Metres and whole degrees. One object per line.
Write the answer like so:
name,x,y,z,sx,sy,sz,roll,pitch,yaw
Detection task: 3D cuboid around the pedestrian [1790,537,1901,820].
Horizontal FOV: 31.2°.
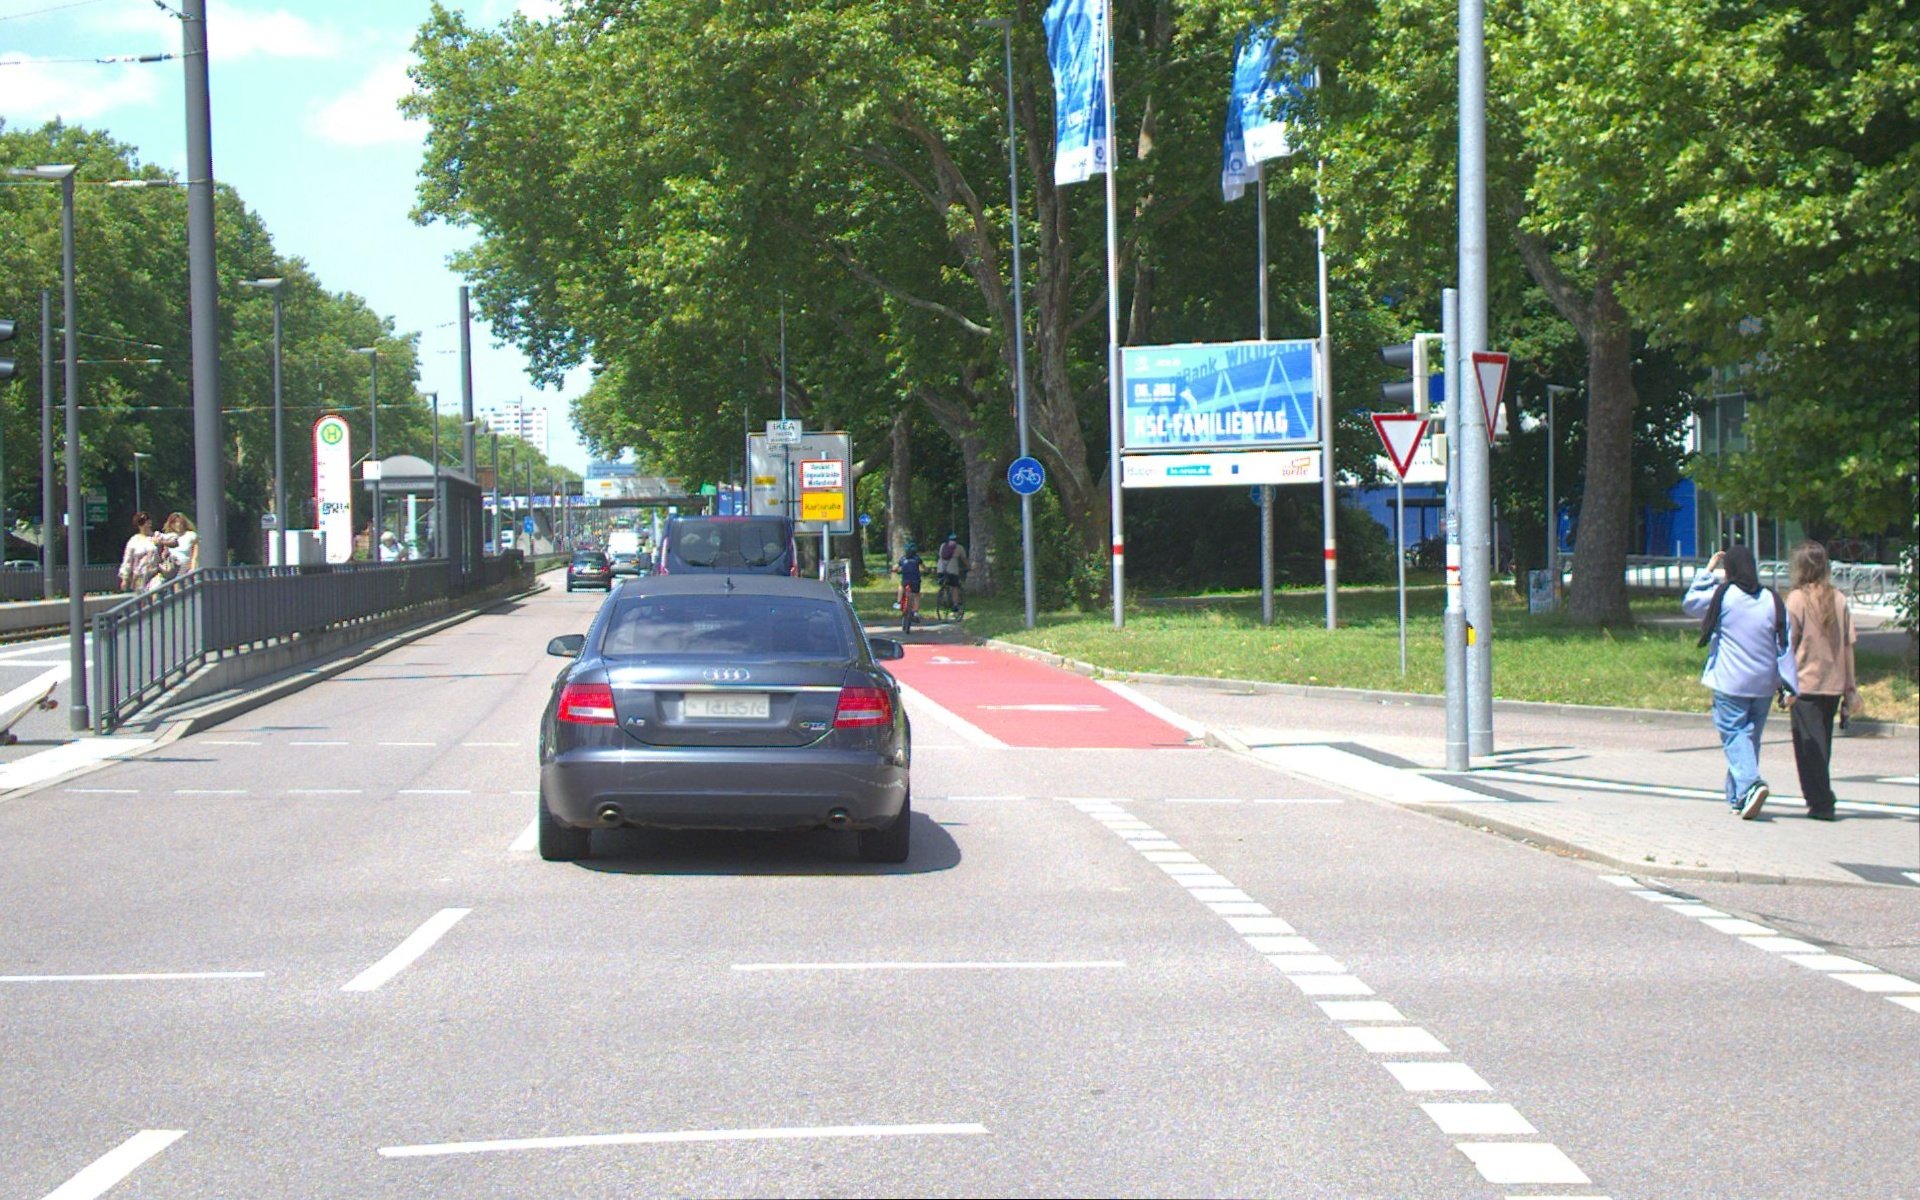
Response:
pedestrian,5.358,0.458,20.827,0.623,1.677,0.725,0,1,13

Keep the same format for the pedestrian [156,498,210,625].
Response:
pedestrian,-10.371,-0.516,45.899,0.613,1.675,0.720,0,1,-7

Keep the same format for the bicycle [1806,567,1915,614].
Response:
bicycle,19.108,-0.205,72.993,2.059,0.965,0.869,0,1,-8

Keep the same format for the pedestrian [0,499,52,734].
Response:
pedestrian,-7.545,0.122,26.702,0.862,1.796,0.884,0,1,-8

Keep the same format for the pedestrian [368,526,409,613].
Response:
pedestrian,-11.056,-0.596,66.481,0.732,1.660,0.742,0,1,-6

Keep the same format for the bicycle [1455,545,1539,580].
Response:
bicycle,17.261,-1.215,110.553,2.545,1.107,0.759,0,1,-9

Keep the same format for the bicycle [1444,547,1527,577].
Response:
bicycle,17.088,-1.228,111.813,2.545,0.967,0.759,0,1,-9

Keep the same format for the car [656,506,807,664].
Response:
car,-2.949,-0.217,44.706,1.848,1.953,4.145,1,1,-3

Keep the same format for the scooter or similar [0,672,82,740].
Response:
scooter or similar,-7.284,0.827,26.964,0.726,0.504,0.457,0,1,-8

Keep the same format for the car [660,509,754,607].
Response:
car,-5.218,-0.876,71.205,1.848,1.953,4.145,1,1,-3

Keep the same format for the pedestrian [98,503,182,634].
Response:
pedestrian,-10.128,-0.401,42.480,0.890,1.599,0.924,0,1,-6

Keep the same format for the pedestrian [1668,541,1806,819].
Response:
pedestrian,4.587,0.452,20.289,0.765,1.601,0.896,0,1,13

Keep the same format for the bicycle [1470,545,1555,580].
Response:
bicycle,17.574,-1.200,109.316,2.545,1.107,0.759,0,1,-9

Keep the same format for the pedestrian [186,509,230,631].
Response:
pedestrian,-9.764,-0.388,44.650,0.497,1.572,0.557,0,1,-6

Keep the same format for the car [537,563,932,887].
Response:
car,-1.273,0.561,18.043,1.842,1.479,4.001,0,1,-6

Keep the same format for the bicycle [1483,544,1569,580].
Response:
bicycle,17.804,-1.187,108.143,2.545,1.107,0.759,0,1,-9

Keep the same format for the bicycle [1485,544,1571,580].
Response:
bicycle,17.692,-1.180,107.065,2.545,1.107,0.759,0,1,-9
